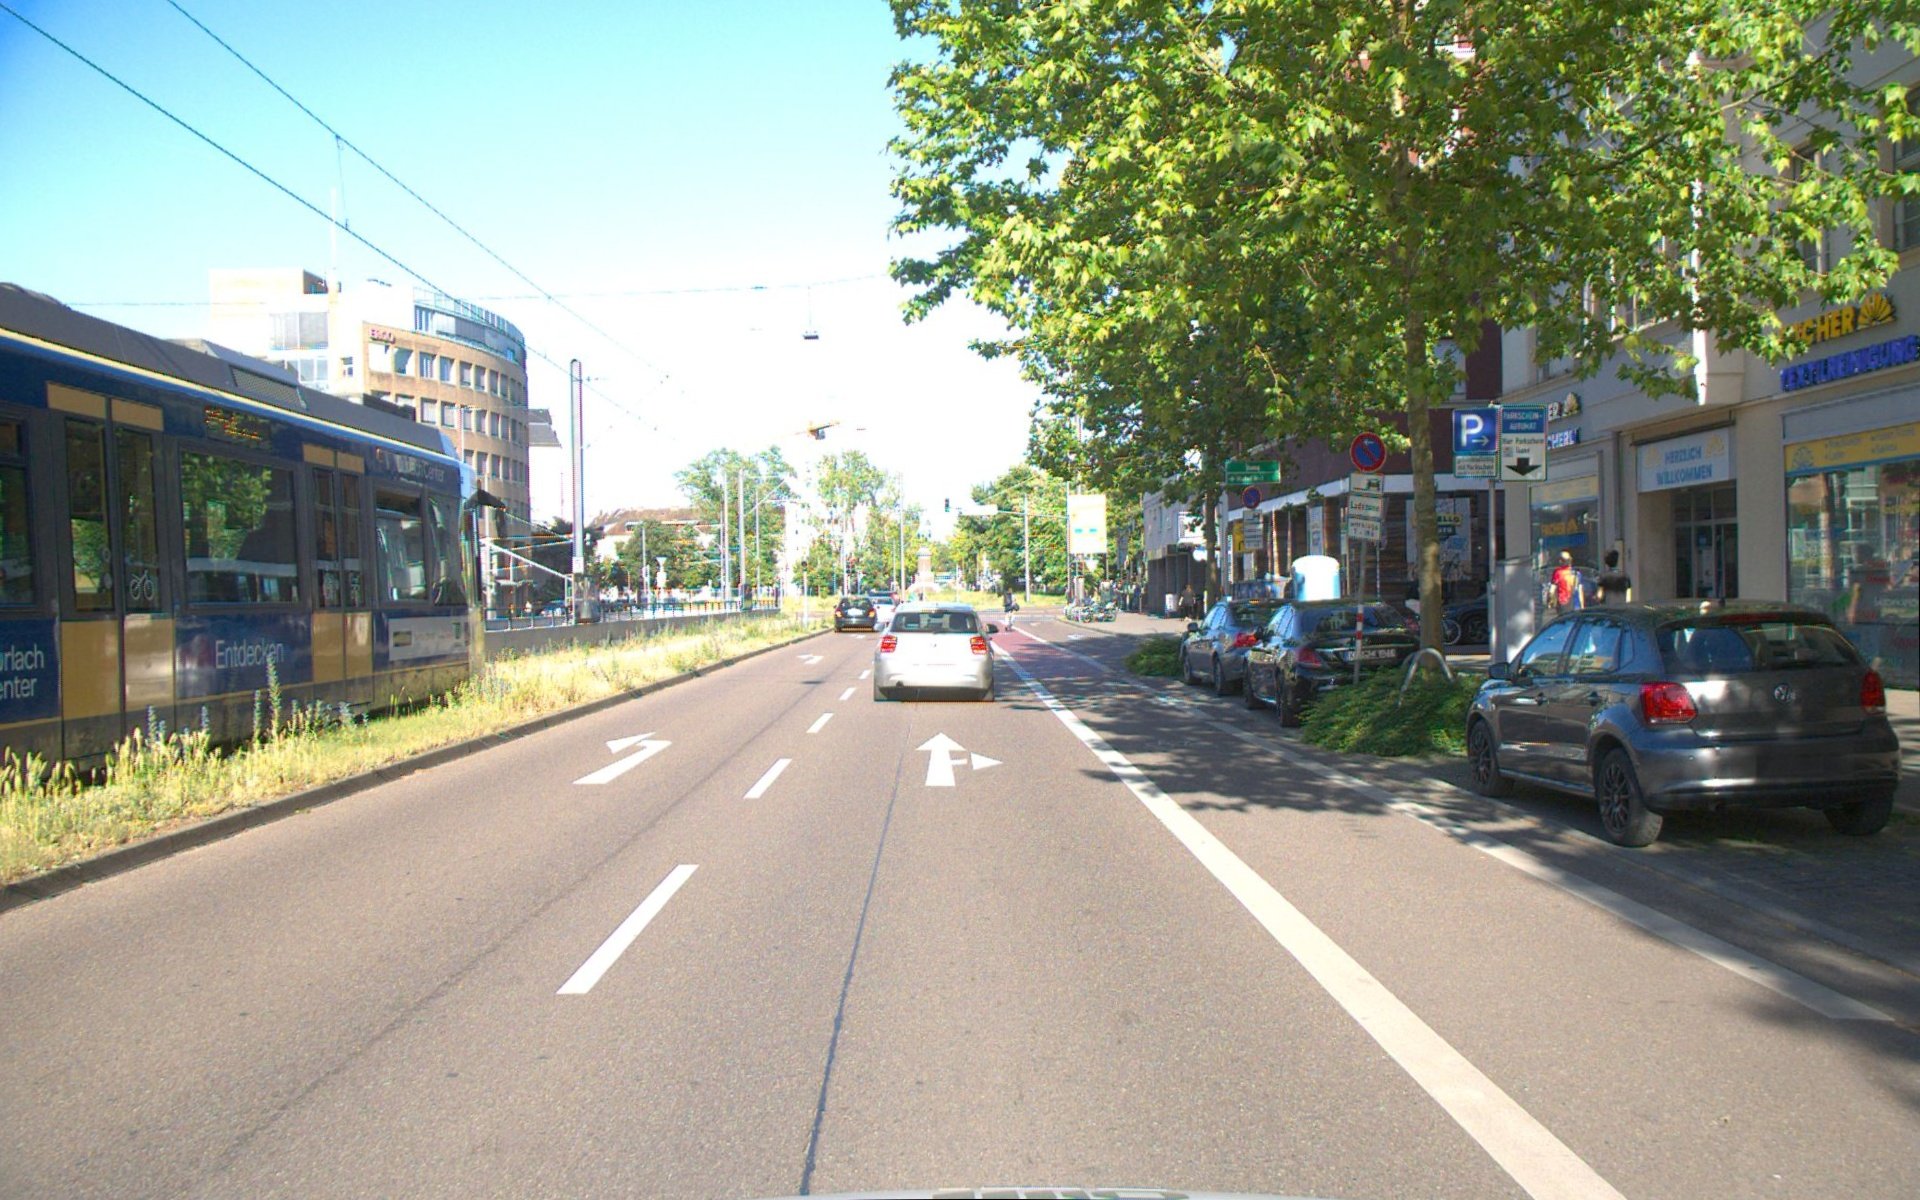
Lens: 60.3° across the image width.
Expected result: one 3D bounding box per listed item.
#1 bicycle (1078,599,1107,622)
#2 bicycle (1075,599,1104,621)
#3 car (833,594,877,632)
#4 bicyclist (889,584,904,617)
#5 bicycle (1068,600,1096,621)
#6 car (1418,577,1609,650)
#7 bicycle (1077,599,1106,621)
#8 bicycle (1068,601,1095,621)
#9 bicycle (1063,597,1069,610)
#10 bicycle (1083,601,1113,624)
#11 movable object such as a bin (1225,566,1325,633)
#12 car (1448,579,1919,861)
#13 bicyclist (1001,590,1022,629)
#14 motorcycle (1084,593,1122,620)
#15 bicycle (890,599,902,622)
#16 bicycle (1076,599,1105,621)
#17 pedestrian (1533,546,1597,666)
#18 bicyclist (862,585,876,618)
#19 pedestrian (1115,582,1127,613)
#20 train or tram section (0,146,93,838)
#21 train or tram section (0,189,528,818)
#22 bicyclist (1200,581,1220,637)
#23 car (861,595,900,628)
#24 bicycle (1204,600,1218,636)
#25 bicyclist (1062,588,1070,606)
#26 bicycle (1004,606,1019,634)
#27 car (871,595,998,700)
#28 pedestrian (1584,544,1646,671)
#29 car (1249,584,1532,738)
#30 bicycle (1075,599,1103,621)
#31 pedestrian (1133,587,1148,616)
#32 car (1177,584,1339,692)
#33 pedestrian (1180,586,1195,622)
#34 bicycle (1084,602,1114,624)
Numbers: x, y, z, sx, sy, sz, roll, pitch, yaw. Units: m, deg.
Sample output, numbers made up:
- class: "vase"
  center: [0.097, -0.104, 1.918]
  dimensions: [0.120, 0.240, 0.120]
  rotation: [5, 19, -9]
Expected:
- class: "bicycle"
  center: [6.660, 0.526, 83.262]
  dimensions: [1.435, 1.086, 0.257]
  rotation: [-1, -1, 1]
- class: "bicycle"
  center: [6.666, 0.511, 84.918]
  dimensions: [1.435, 1.086, 0.257]
  rotation: [-1, -1, 1]
- class: "car"
  center: [-4.212, 0.508, 66.794]
  dimensions: [1.692, 1.496, 4.407]
  rotation: [0, 0, -3]
- class: "bicyclist"
  center: [-3.107, 0.028, 80.505]
  dimensions: [0.606, 1.599, 0.684]
  rotation: [0, 0, -12]
- class: "bicycle"
  center: [6.549, 0.541, 88.942]
  dimensions: [1.435, 1.086, 0.257]
  rotation: [-1, -1, 1]
- class: "car"
  center: [14.075, 0.347, 42.231]
  dimensions: [4.211, 1.819, 1.995]
  rotation: [0, 0, -1]
- class: "bicycle"
  center: [6.683, 0.519, 84.201]
  dimensions: [1.435, 1.086, 0.257]
  rotation: [-1, -1, 1]
- class: "bicycle"
  center: [6.577, 0.599, 89.603]
  dimensions: [1.435, 1.086, 0.257]
  rotation: [-1, -1, 1]
- class: "bicycle"
  center: [8.372, 0.267, 130.858]
  dimensions: [0.344, 0.975, 1.573]
  rotation: [1, 0, 1]
- class: "bicycle"
  center: [6.857, 0.615, 82.119]
  dimensions: [1.435, 1.086, 0.257]
  rotation: [-1, -1, 1]
- class: "movable object such as a bin"
  center: [9.145, -0.053, 48.287]
  dimensions: [1.908, 1.875, 3.475]
  rotation: [-1, 1, -6]
- class: "car"
  center: [4.799, 0.668, 11.369]
  dimensions: [1.660, 1.528, 3.800]
  rotation: [-3, 0, -1]
- class: "bicyclist"
  center: [2.118, 0.385, 67.967]
  dimensions: [0.769, 1.558, 0.895]
  rotation: [1, 0, -1]
- class: "motorcycle"
  center: [6.908, 0.308, 80.121]
  dimensions: [1.816, 1.323, 0.652]
  rotation: [0, 0, 2]
- class: "bicycle"
  center: [-3.105, 0.496, 80.528]
  dimensions: [0.332, 1.075, 1.774]
  rotation: [0, 0, -10]
- class: "bicycle"
  center: [6.661, 0.513, 84.574]
  dimensions: [1.435, 1.086, 0.257]
  rotation: [-1, -1, 1]
- class: "pedestrian"
  center: [9.924, 0.099, 27.146]
  dimensions: [0.699, 1.933, 0.863]
  rotation: [-1, 0, -1]
- class: "bicyclist"
  center: [-4.429, 0.072, 80.227]
  dimensions: [0.604, 1.599, 0.686]
  rotation: [1, 0, 1]
- class: "pedestrian"
  center: [10.556, -0.172, 108.395]
  dimensions: [0.774, 2.049, 0.870]
  rotation: [1, 0, 6]
- class: "train or tram section"
  center: [-6.945, -0.640, 8.476]
  dimensions: [2.895, 3.965, 3.865]
  rotation: [1, 0, -1]
- class: "train or tram section"
  center: [-6.995, -0.622, 15.836]
  dimensions: [2.892, 3.965, 10.801]
  rotation: [1, 0, -1]
- class: "bicyclist"
  center: [7.757, 0.269, 51.385]
  dimensions: [0.588, 1.719, 0.598]
  rotation: [-1, 0, 10]
- class: "car"
  center: [-3.580, 0.512, 74.984]
  dimensions: [1.611, 1.446, 3.999]
  rotation: [1, 0, -1]
- class: "bicycle"
  center: [7.799, 0.554, 51.361]
  dimensions: [0.311, 1.104, 1.686]
  rotation: [-1, 0, 12]
- class: "bicyclist"
  center: [8.403, -0.202, 130.879]
  dimensions: [0.604, 1.404, 0.686]
  rotation: [1, 0, 1]
- class: "bicycle"
  center: [2.103, 0.802, 67.908]
  dimensions: [0.489, 1.107, 1.997]
  rotation: [1, 0, -1]
- class: "car"
  center: [-0.383, 0.652, 25.063]
  dimensions: [1.761, 1.439, 3.999]
  rotation: [0, 0, -1]
- class: "pedestrian"
  center: [9.123, 0.097, 23.062]
  dimensions: [0.546, 1.741, 0.770]
  rotation: [0, 0, -1]
- class: "car"
  center: [4.735, 0.607, 18.940]
  dimensions: [1.997, 1.535, 4.593]
  rotation: [0, 0, -1]
- class: "bicycle"
  center: [6.651, 0.512, 85.241]
  dimensions: [1.435, 1.086, 0.257]
  rotation: [-1, -1, 1]
- class: "pedestrian"
  center: [11.902, 0.087, 108.864]
  dimensions: [0.808, 1.888, 0.917]
  rotation: [1, 0, 14]
- class: "car"
  center: [4.708, 0.551, 26.738]
  dimensions: [1.753, 1.582, 4.435]
  rotation: [0, 0, -1]
- class: "pedestrian"
  center: [10.179, 0.163, 73.957]
  dimensions: [0.561, 1.610, 0.556]
  rotation: [0, 0, -1]
- class: "bicycle"
  center: [6.854, 0.642, 81.752]
  dimensions: [1.435, 1.086, 0.257]
  rotation: [-1, -1, 1]
